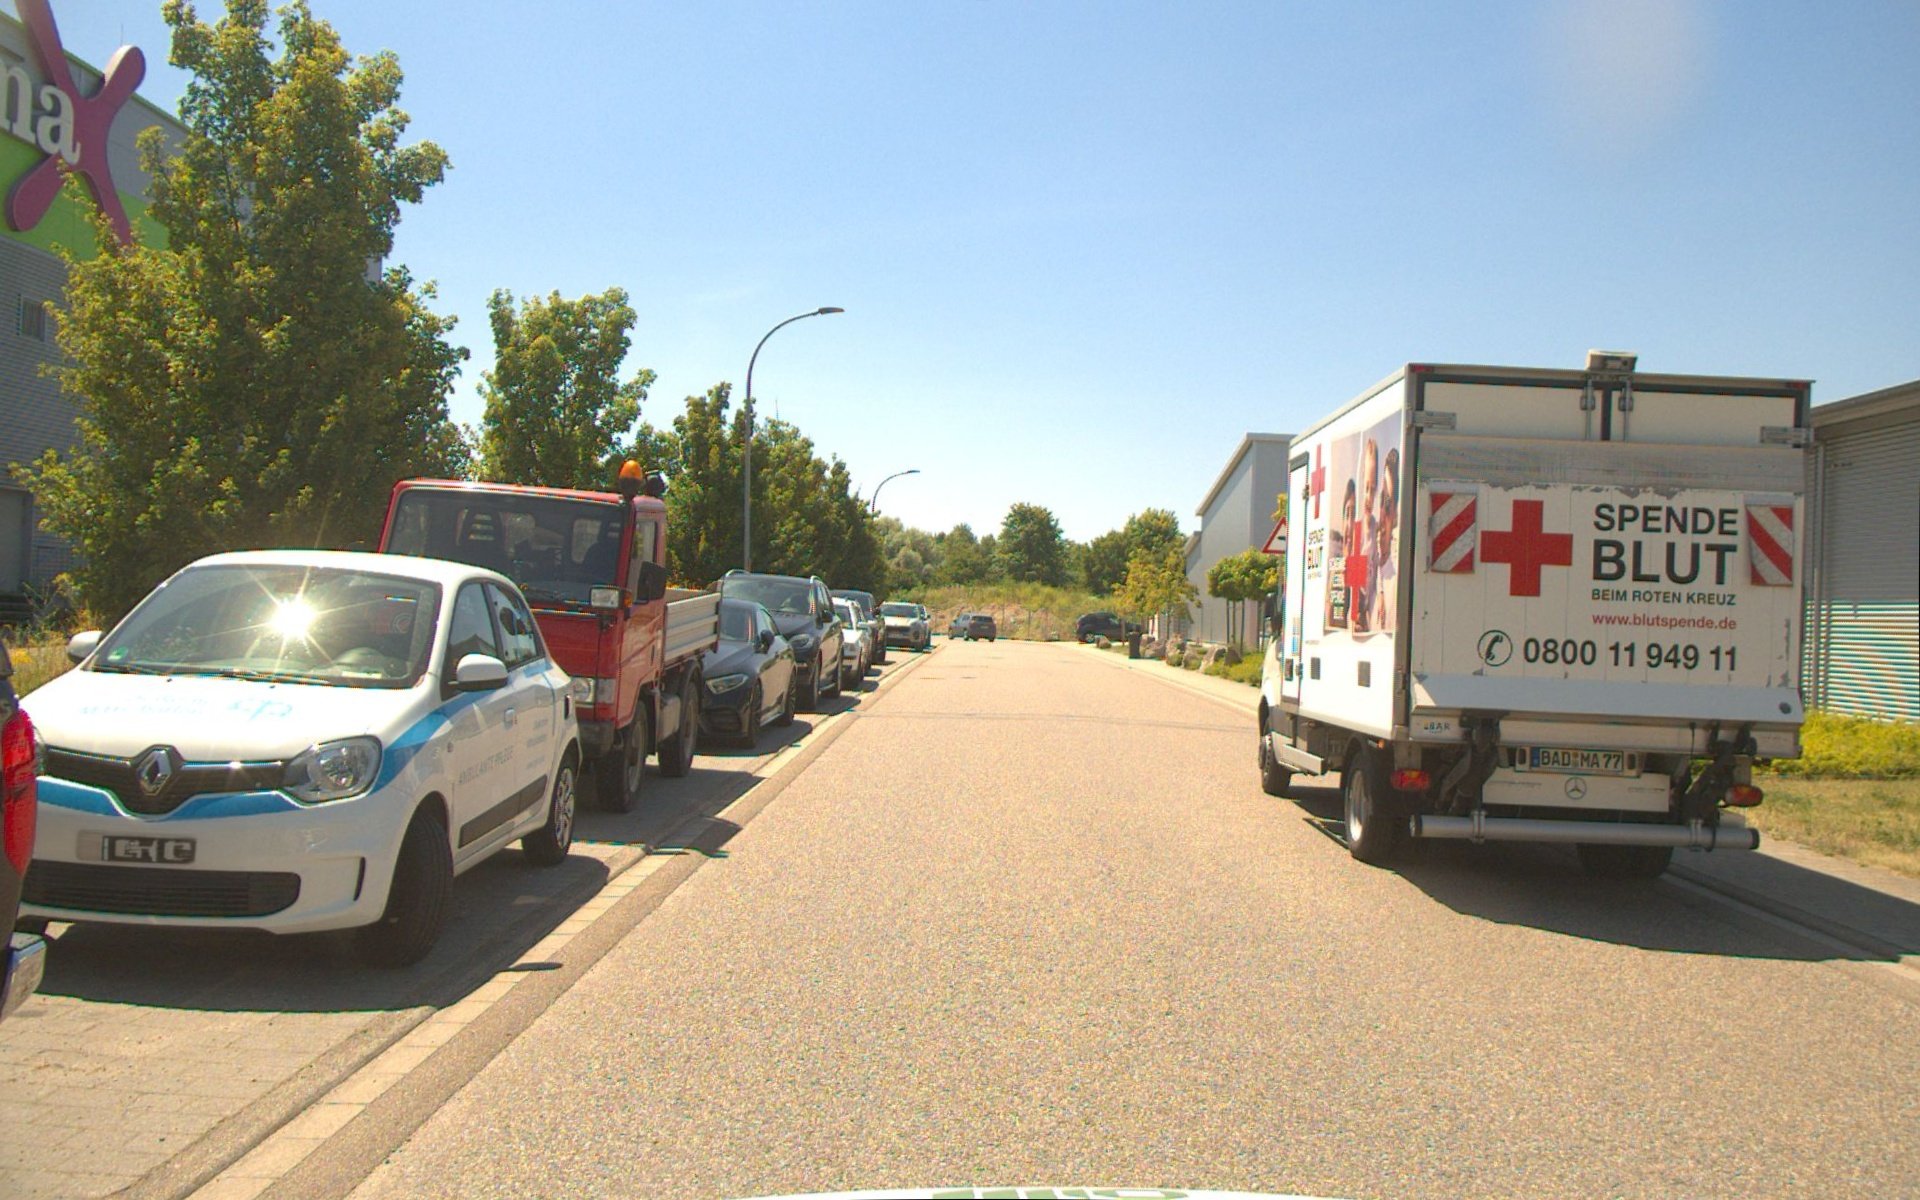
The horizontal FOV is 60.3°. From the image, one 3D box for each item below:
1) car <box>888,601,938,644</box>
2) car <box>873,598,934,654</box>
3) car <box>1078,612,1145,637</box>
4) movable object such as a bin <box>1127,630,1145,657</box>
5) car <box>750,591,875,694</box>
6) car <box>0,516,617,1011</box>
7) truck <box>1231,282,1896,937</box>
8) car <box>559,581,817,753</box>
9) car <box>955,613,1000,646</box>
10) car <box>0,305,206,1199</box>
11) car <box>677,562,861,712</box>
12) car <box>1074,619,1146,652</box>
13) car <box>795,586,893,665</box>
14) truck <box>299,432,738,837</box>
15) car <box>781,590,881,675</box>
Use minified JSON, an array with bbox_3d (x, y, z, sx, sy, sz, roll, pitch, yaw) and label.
[{"bbox_3d":[-1.948,0.929,69.661,1.873,1.684,4.754,2,0,0],"label":"car"},{"bbox_3d":[-1.943,0.883,57.841,1.873,1.743,4.413,4,0,0],"label":"car"},{"bbox_3d":[9.300,1.508,101.739,3.928,1.487,1.892,0,-1,-1],"label":"car"},{"bbox_3d":[6.405,1.569,60.205,0.547,0.963,0.539,1,-1,-1],"label":"movable object such as a bin"},{"bbox_3d":[-2.491,0.684,28.999,1.814,1.545,4.903,4,0,-2],"label":"car"},{"bbox_3d":[-2.846,0.540,7.425,1.814,1.578,3.766,4,0,-1],"label":"car"},{"bbox_3d":[3.647,0.051,11.897,2.406,3.261,6.884,2,0,2],"label":"truck"},{"bbox_3d":[-2.704,0.624,17.567,1.813,1.468,4.753,4,0,1],"label":"car"},{"bbox_3d":[0.978,1.704,96.679,1.878,1.743,4.021,2,0,-10],"label":"car"},{"bbox_3d":[-2.846,0.342,1.230,1.933,1.934,5.402,4,0,1],"label":"car"},{"bbox_3d":[-2.574,0.482,23.440,1.813,1.789,4.987,4,0,1],"label":"car"},{"bbox_3d":[8.589,2.052,95.191,3.928,1.684,1.858,-2,-1,0],"label":"car"},{"bbox_3d":[-2.845,0.606,41.597,1.951,1.743,5.007,4,0,1],"label":"car"},{"bbox_3d":[-2.898,0.208,12.012,1.814,2.261,4.645,3,0,0],"label":"truck"},{"bbox_3d":[-2.663,0.645,35.170,1.814,1.545,5.165,4,0,-2],"label":"car"}]
